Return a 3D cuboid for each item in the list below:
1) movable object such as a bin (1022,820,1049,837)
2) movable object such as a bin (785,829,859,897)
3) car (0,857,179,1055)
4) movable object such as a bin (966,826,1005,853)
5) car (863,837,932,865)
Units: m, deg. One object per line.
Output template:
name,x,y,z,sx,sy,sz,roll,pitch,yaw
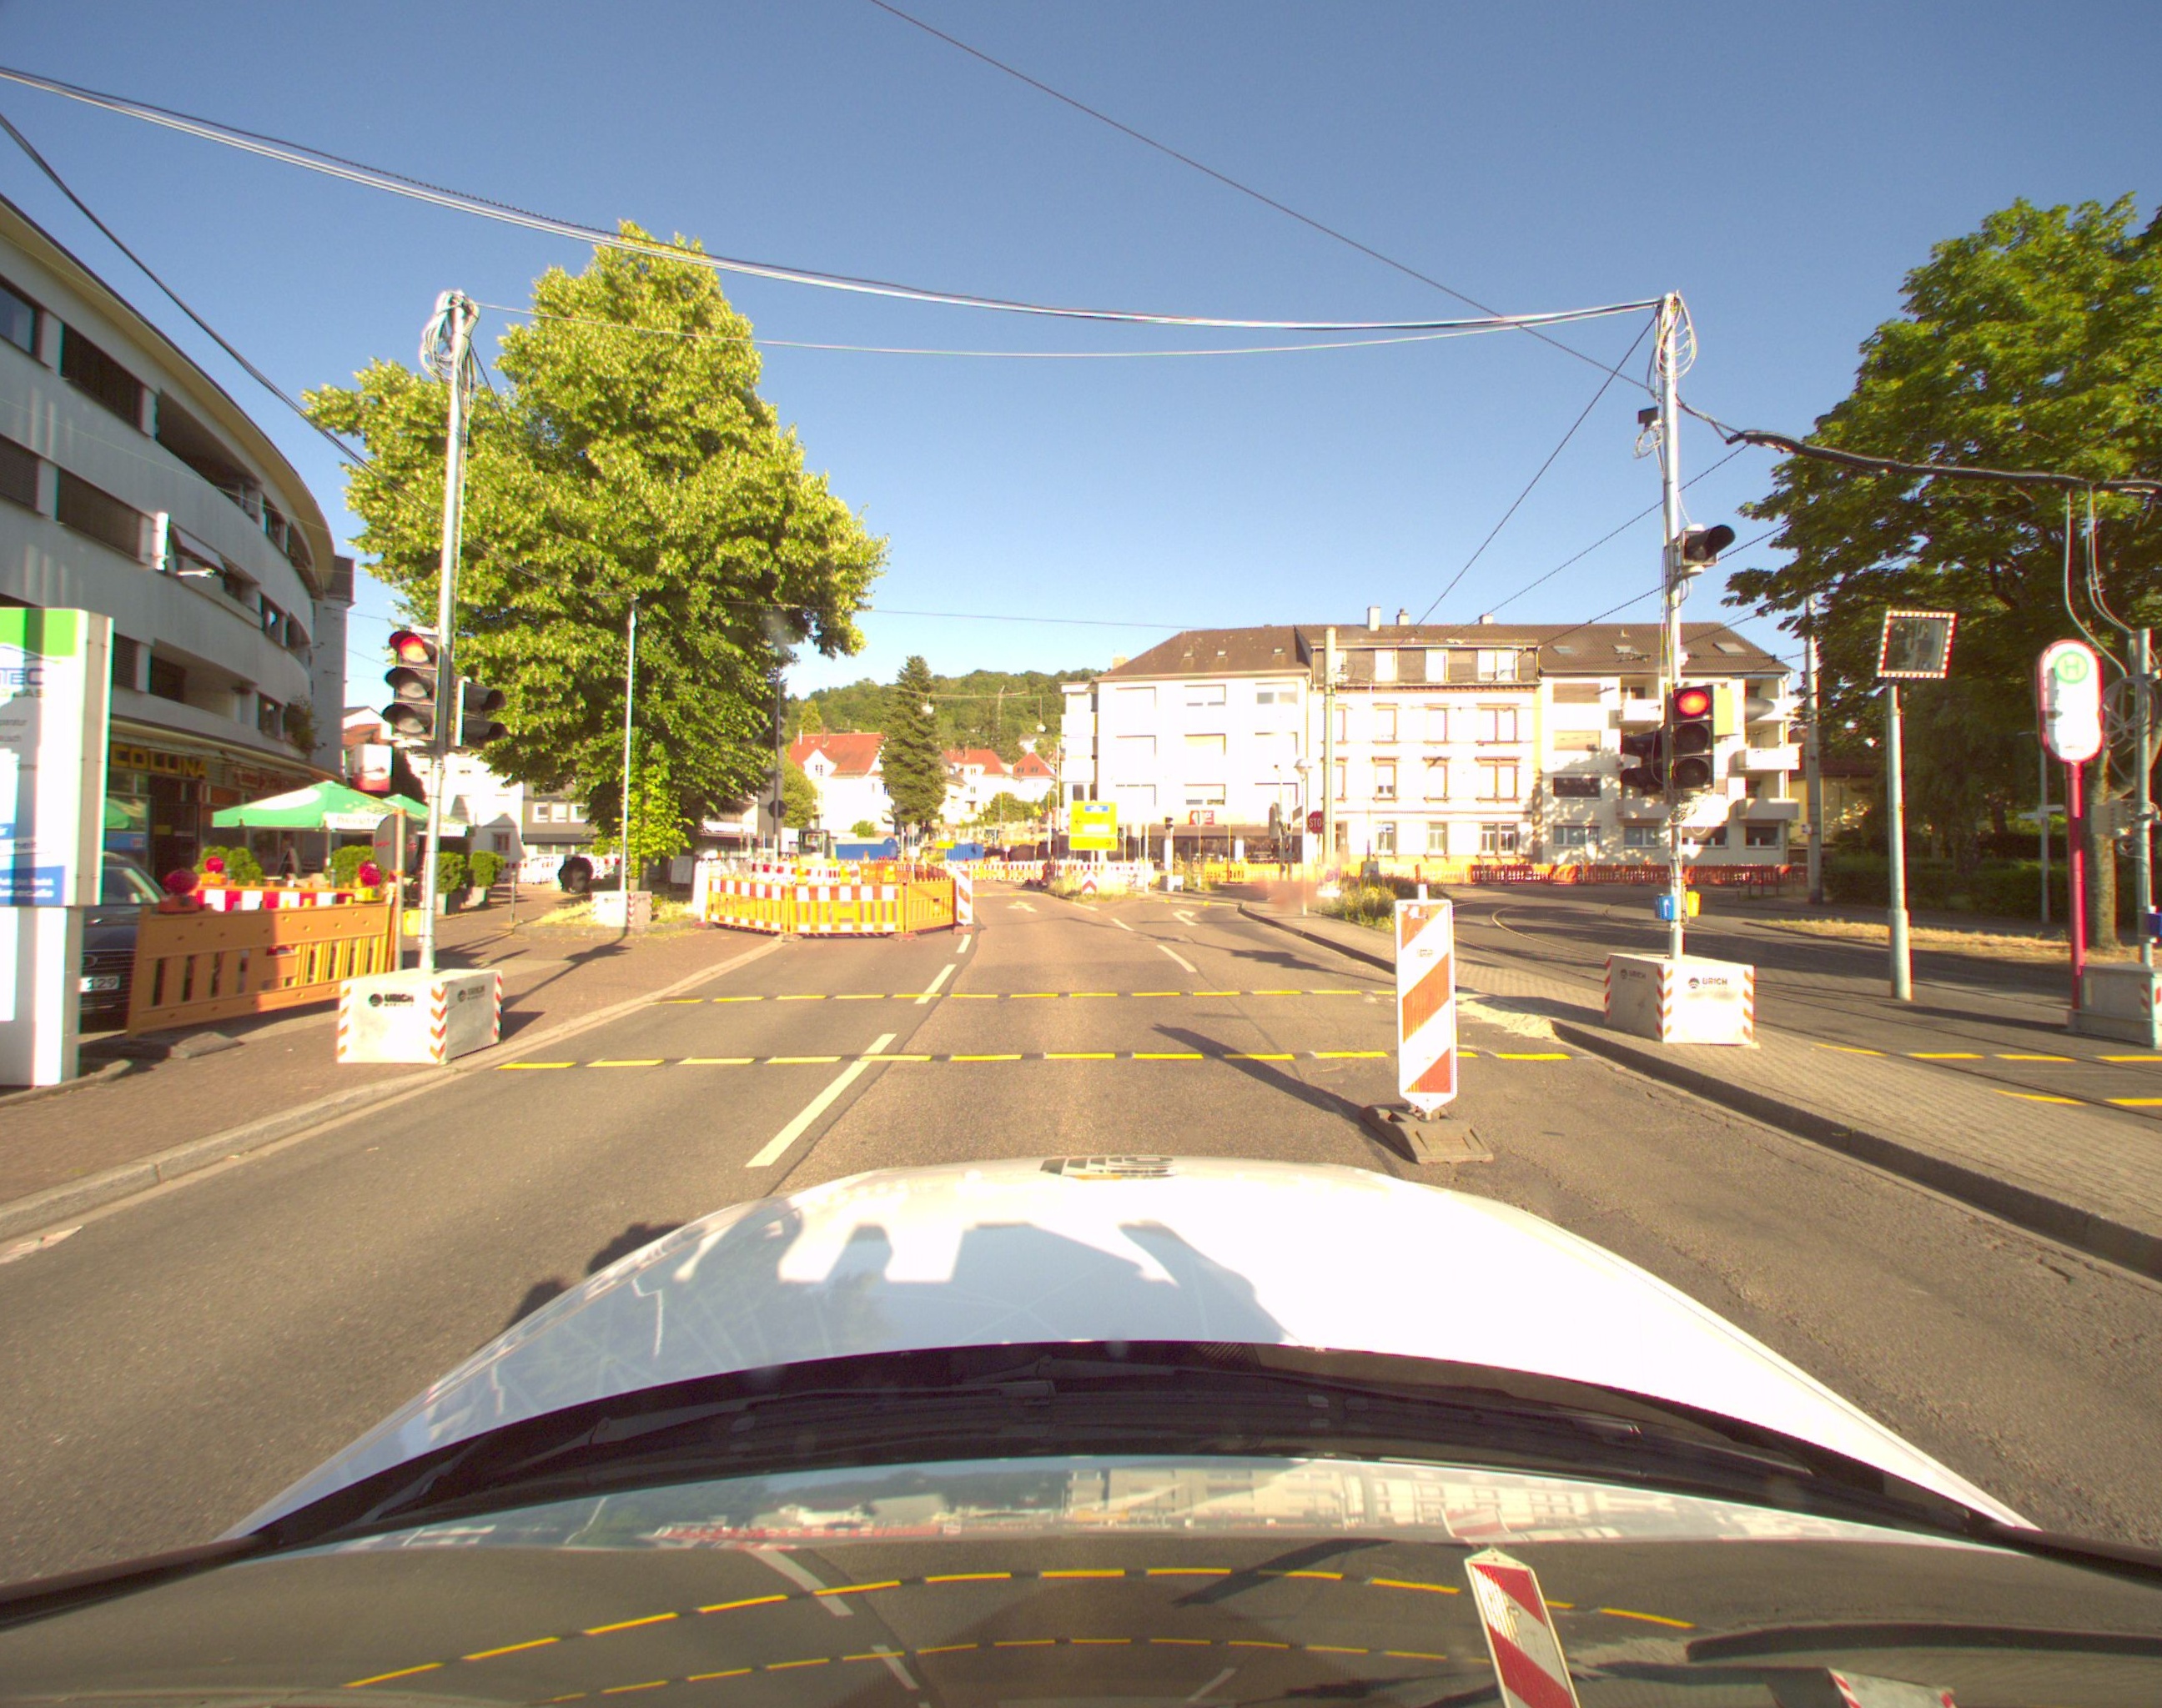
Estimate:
movable object such as a bin,-6.416,-3.589,115.297,2.549,2.122,5.801,-1,-1,11
movable object such as a bin,-9.407,0.300,29.878,1.643,2.324,3.916,0,0,-3
car,-9.319,0.778,7.313,3.835,1.438,1.606,-1,0,42
movable object such as a bin,-9.238,-1.345,79.397,1.932,2.494,4.574,-1,-1,20
car,-14.913,-0.225,66.701,2.562,2.121,6.181,-1,-1,20
